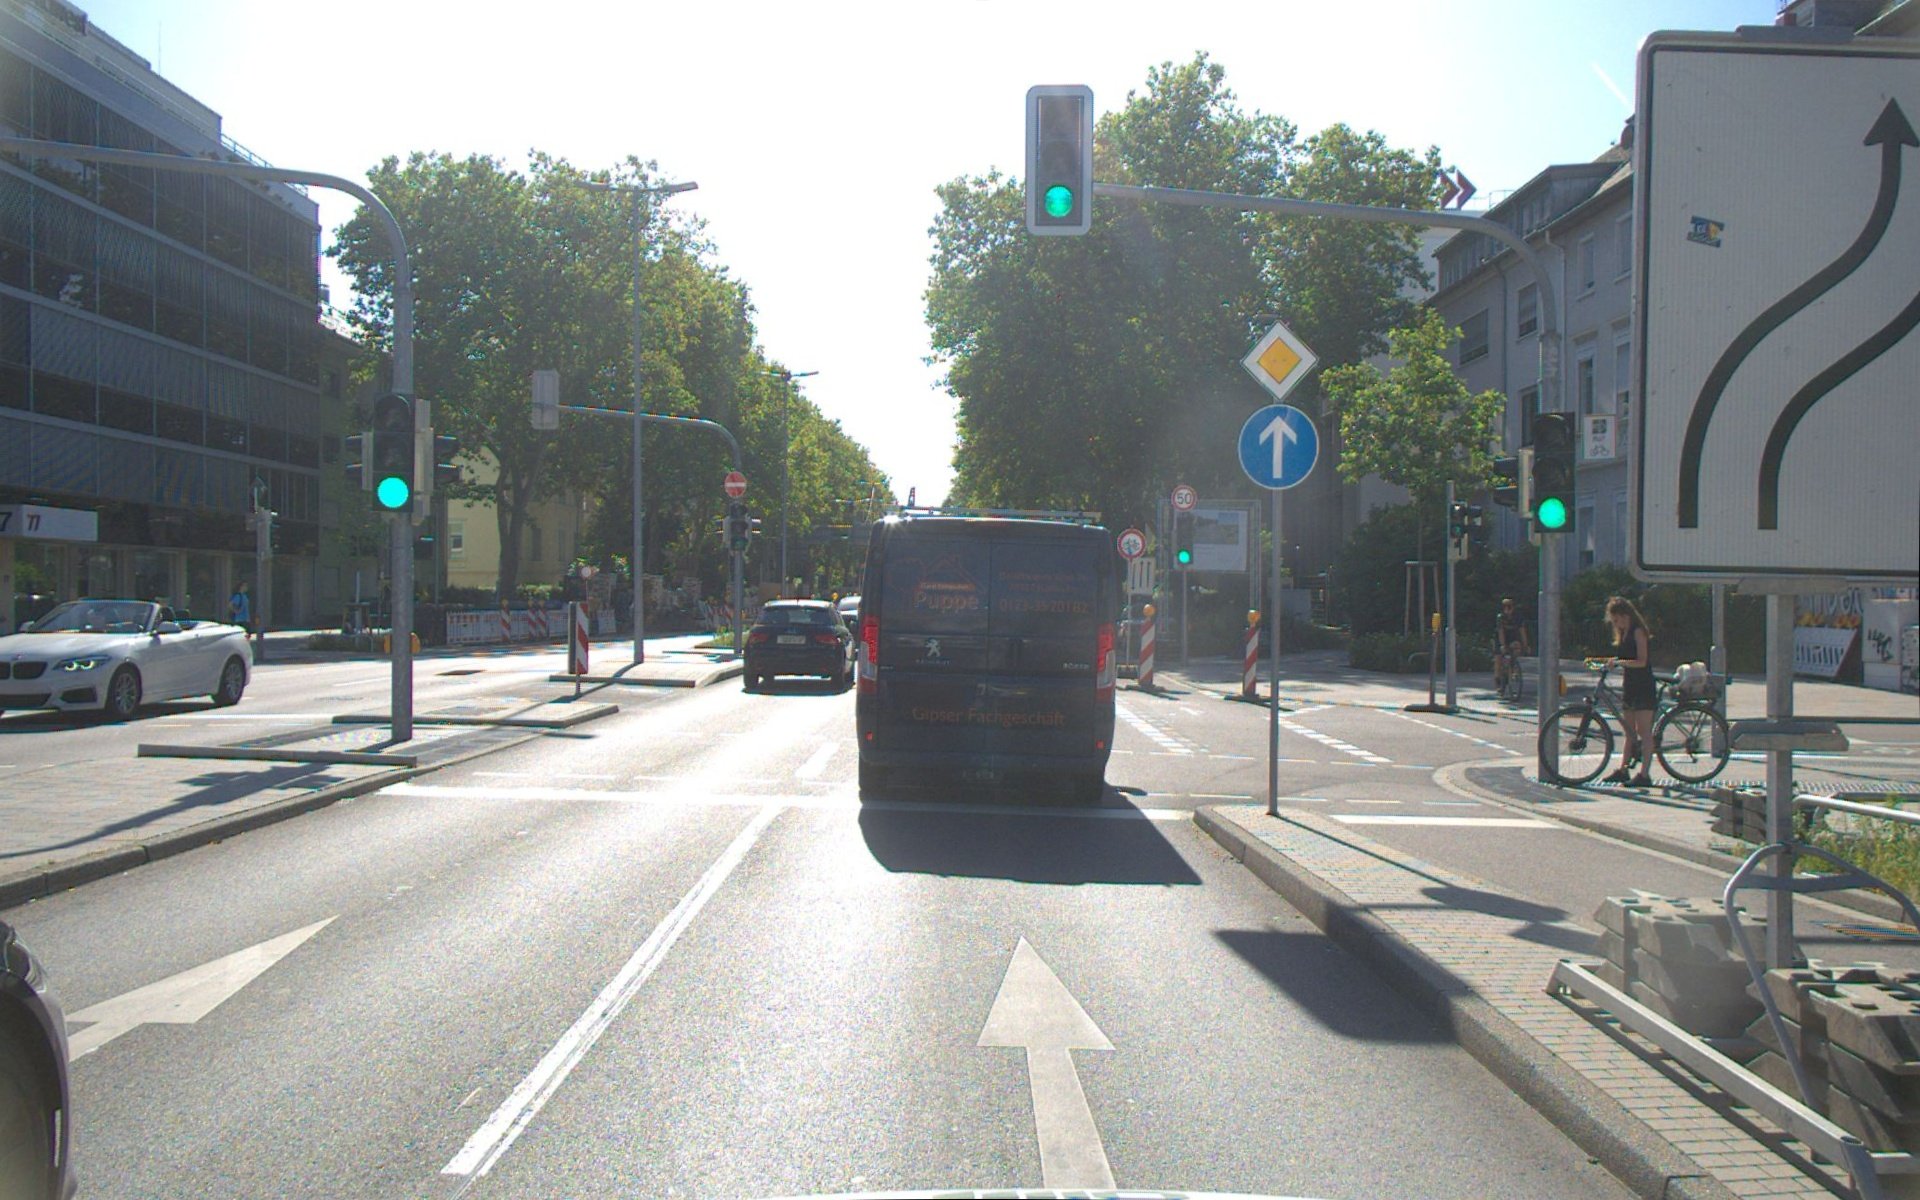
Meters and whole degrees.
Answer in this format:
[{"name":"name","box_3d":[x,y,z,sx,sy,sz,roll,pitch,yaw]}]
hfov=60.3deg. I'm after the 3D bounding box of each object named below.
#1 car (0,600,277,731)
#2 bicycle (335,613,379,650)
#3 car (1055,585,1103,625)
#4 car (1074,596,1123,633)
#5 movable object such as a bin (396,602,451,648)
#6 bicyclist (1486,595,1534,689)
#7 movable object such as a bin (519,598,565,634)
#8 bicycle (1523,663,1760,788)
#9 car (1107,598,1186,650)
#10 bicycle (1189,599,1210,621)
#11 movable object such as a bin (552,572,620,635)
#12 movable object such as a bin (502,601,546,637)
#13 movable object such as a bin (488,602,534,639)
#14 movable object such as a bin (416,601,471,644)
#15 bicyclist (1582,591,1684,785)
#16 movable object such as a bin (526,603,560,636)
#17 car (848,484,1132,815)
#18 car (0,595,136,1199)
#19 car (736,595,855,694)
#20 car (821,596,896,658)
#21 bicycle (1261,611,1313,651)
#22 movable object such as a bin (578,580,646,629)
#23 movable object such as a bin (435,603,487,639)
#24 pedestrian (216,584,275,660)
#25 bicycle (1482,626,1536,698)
[{"name":"car","box_3d":[-10.258,0.709,20.133,1.890,1.369,4.318,0,1,3]},{"name":"bicycle","box_3d":[-18.286,0.951,50.173,0.614,1.055,1.879,1,0,1]},{"name":"car","box_3d":[5.960,0.240,83.176,1.984,1.980,5.272,0,0,-1]},{"name":"car","box_3d":[5.943,0.589,71.497,1.727,1.534,4.250,1,0,0]},{"name":"movable object such as a bin","box_3d":[-17.070,0.782,52.717,1.091,1.412,1.856,0,0,2]},{"name":"bicyclist","box_3d":[9.198,0.685,27.666,0.708,1.526,0.872,0,0,15]},{"name":"movable object such as a bin","box_3d":[-17.015,0.647,67.306,1.610,1.447,1.253,0,0,-26]},{"name":"bicycle","box_3d":[6.278,1.149,15.282,1.922,1.043,0.605,2,1,-1]},{"name":"car","box_3d":[5.827,0.722,52.269,1.815,1.505,4.940,1,0,-2]},{"name":"bicycle","box_3d":[10.857,0.448,74.981,0.766,0.983,1.823,0,0,2]},{"name":"movable object such as a bin","box_3d":[-17.050,0.132,75.600,2.103,2.753,5.351,1,0,-3]},{"name":"movable object such as a bin","box_3d":[-16.643,0.733,63.150,1.381,1.361,0.936,0,0,2]},{"name":"movable object such as a bin","box_3d":[-16.829,0.747,62.063,1.381,1.361,1.157,0,0,2]},{"name":"movable object such as a bin","box_3d":[-17.166,0.739,55.053,1.189,1.412,1.856,0,0,2]},{"name":"bicyclist","box_3d":[6.227,0.792,15.335,0.591,1.738,0.858,0,0,0]},{"name":"movable object such as a bin","box_3d":[-16.508,0.772,65.487,0.959,1.293,1.540,0,0,0]},{"name":"car","box_3d":[0.192,0.339,14.124,2.053,2.396,3.932,1,1,-1]},{"name":"car","box_3d":[-2.728,0.718,1.295,1.886,1.436,4.625,0,0,-1]},{"name":"car","box_3d":[-2.735,0.704,28.232,1.711,1.431,3.999,2,2,-2]},{"name":"car","box_3d":[-2.498,0.643,41.442,1.711,1.432,3.999,2,0,-2]},{"name":"bicycle","box_3d":[8.623,0.805,43.567,0.577,1.022,2.125,1,0,34]},{"name":"movable object such as a bin","box_3d":[-17.167,0.225,81.781,1.952,2.318,5.600,-1,0,2]},{"name":"movable object such as a bin","box_3d":[-17.131,0.712,56.791,1.365,1.224,1.242,1,0,3]},{"name":"pedestrian","box_3d":[-16.542,0.502,38.321,0.846,1.740,1.013,0,0,7]},{"name":"bicycle","box_3d":[9.240,1.026,27.869,0.674,1.117,1.688,0,0,12]}]
